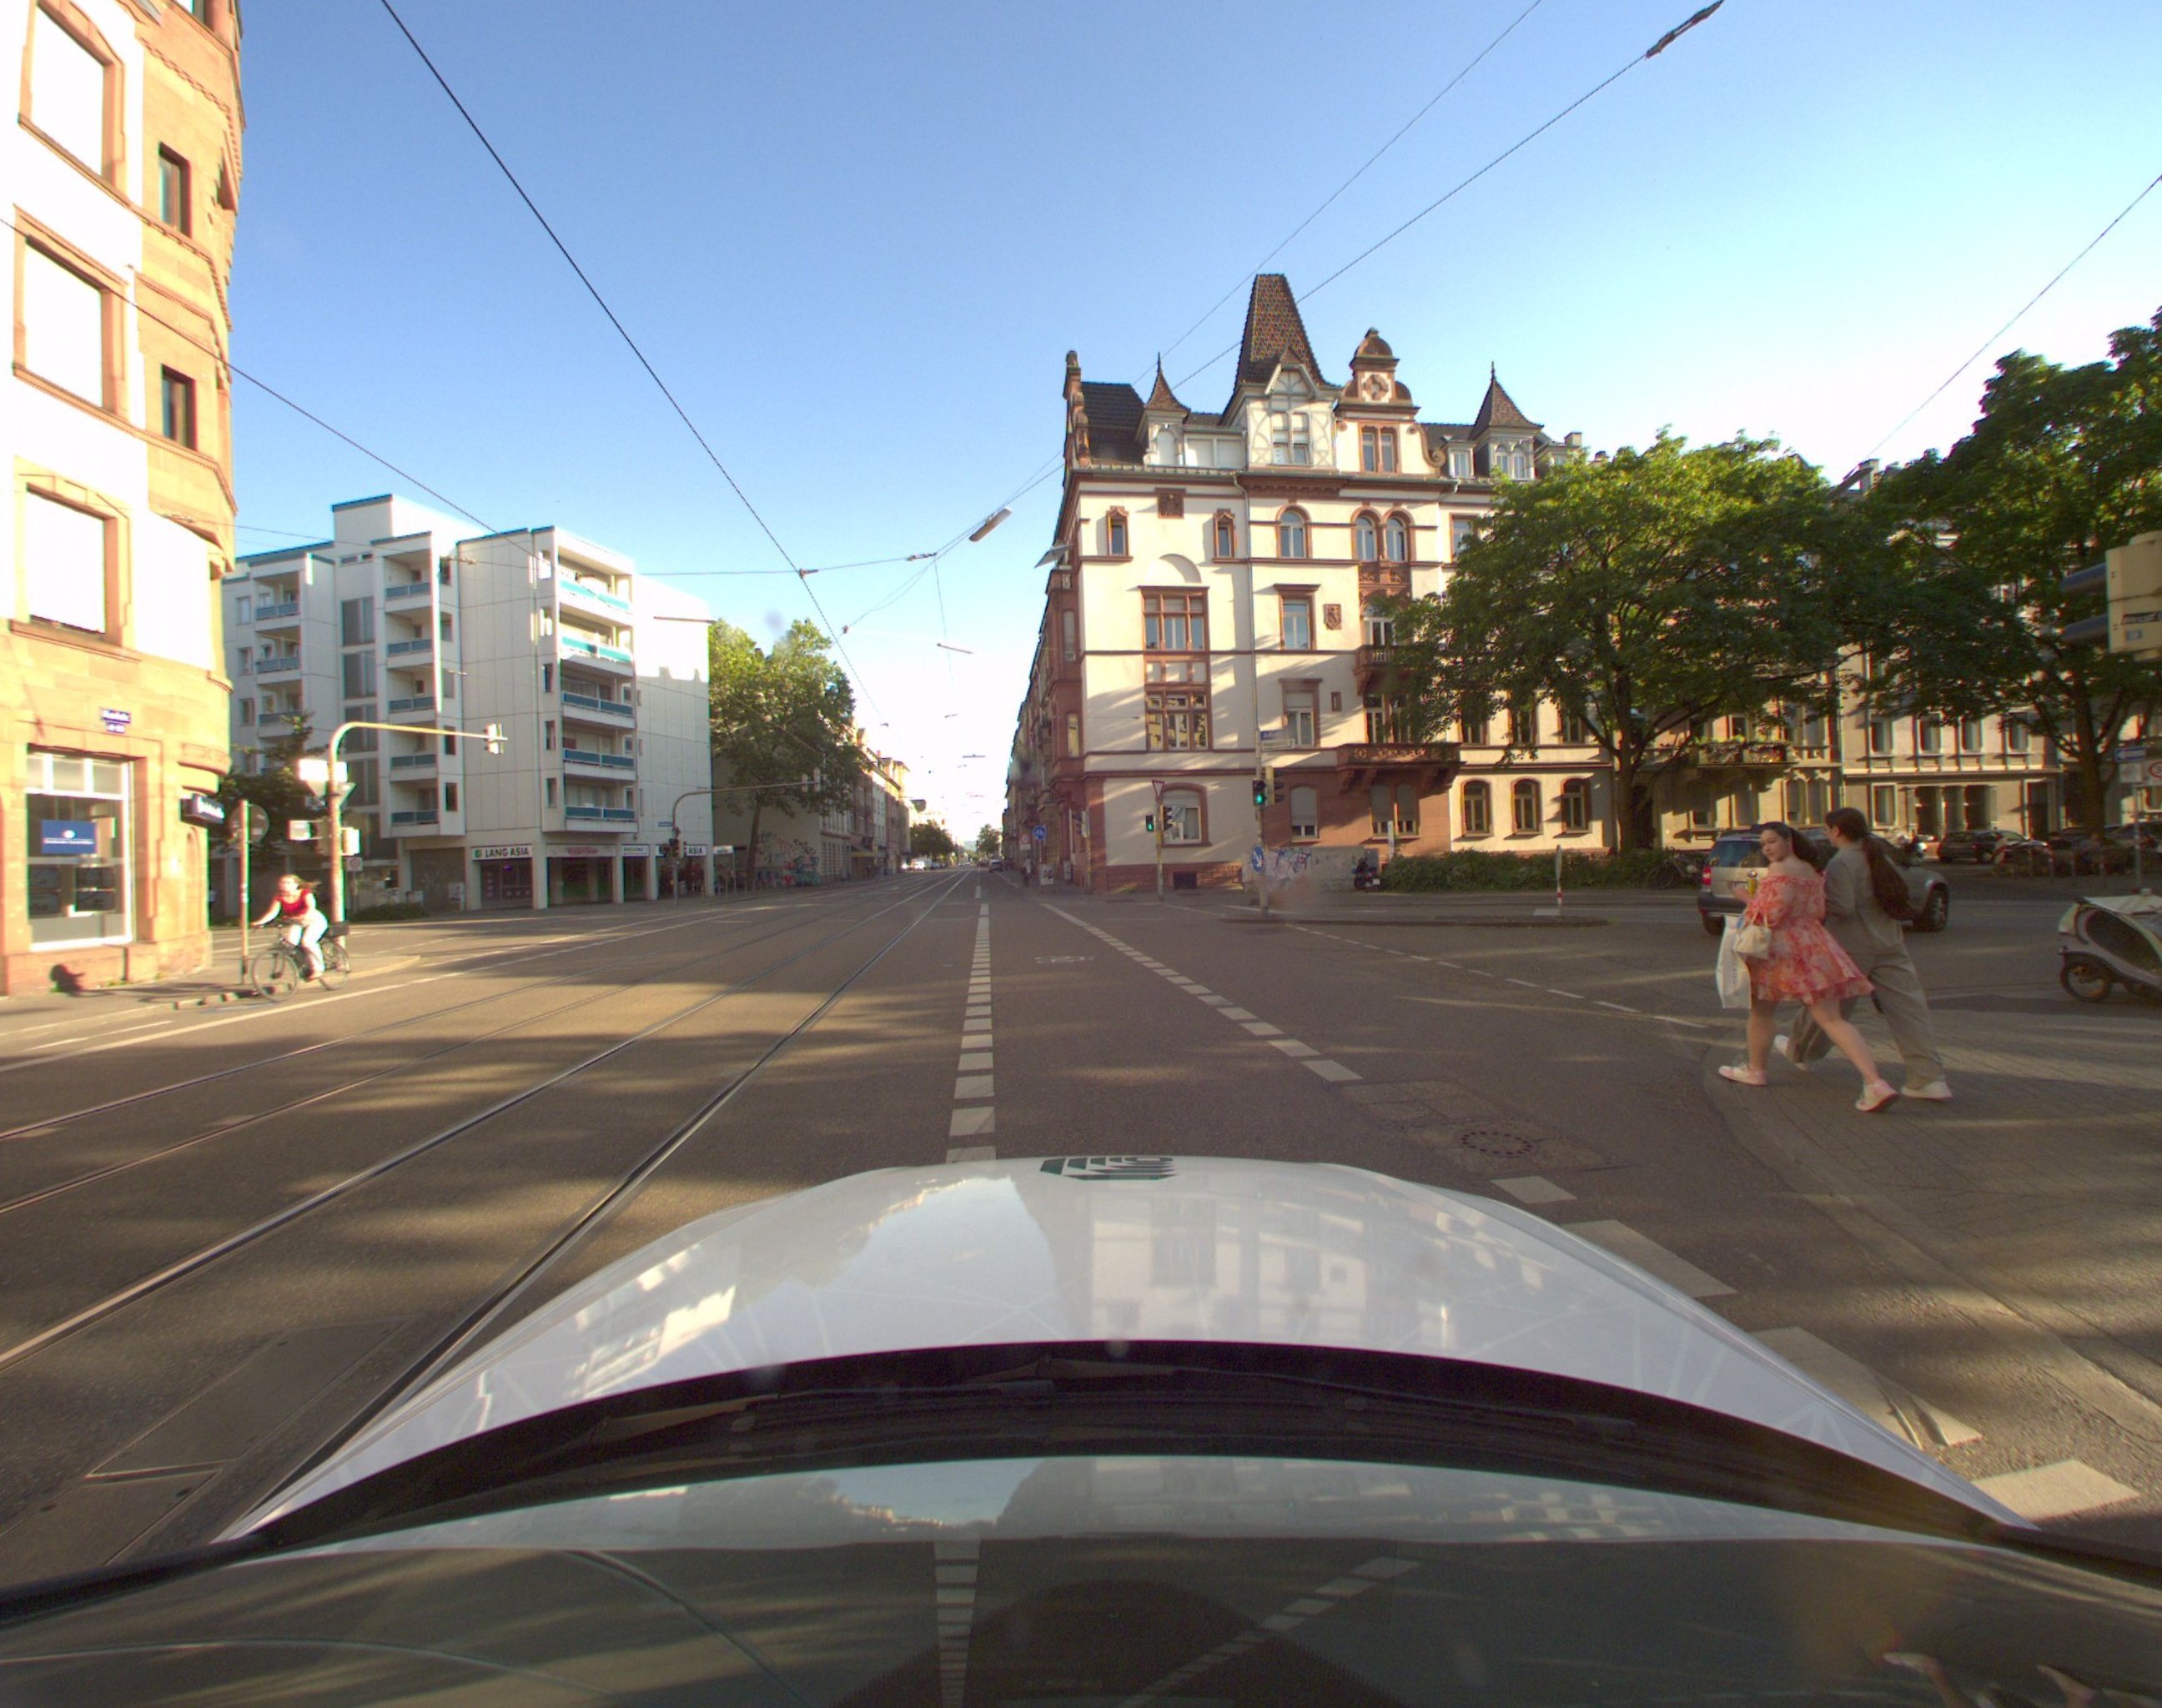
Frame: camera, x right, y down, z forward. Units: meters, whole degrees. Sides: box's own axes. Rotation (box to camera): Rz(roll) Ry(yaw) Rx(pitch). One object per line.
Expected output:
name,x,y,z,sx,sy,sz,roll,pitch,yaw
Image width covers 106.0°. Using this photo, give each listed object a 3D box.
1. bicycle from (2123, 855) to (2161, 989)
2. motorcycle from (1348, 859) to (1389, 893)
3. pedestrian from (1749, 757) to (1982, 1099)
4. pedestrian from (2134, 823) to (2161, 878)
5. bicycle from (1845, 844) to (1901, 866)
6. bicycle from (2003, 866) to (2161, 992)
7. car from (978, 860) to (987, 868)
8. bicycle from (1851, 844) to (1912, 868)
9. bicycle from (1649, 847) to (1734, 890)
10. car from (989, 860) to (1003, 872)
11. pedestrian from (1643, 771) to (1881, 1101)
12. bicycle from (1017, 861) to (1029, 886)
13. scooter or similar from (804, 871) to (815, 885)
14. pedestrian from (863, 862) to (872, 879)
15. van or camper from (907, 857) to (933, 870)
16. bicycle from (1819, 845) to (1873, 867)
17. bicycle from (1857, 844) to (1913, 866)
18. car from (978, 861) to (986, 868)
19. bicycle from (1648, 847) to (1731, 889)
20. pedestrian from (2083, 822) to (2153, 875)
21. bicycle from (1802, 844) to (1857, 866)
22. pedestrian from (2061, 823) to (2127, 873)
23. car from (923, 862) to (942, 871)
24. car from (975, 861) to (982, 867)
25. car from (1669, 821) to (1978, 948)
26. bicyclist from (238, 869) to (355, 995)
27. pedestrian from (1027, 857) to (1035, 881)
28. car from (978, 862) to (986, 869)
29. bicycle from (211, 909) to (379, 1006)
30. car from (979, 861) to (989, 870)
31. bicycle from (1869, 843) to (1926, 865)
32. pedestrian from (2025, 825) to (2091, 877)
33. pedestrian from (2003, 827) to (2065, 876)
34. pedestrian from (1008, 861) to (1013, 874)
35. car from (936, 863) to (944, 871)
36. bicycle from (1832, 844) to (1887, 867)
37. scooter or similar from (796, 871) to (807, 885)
bicycle,10.196,0.595,6.754,0.503,1.223,1.918,-2,-2,-3
motorcycle,9.794,0.728,27.805,0.716,1.020,2.290,-2,2,5
pedestrian,4.821,0.412,5.031,0.693,1.908,0.665,-5,-1,-22
pedestrian,28.954,-0.123,21.588,0.904,1.428,0.770,-6,-2,25
bicycle,33.459,0.050,34.441,0.491,0.893,1.794,-2,0,-4
bicycle,9.420,0.649,7.420,0.774,1.045,1.063,-2,-2,2
car,-23.345,2.344,192.927,1.992,1.728,3.989,-1,-1,-8
bicycle,32.425,0.097,32.998,1.782,0.893,0.494,-2,-1,7
bicycle,17.295,0.416,23.107,1.840,1.161,0.563,-2,1,30
car,-12.022,1.668,115.177,1.947,1.684,3.992,-2,0,-6
pedestrian,4.075,0.447,4.920,0.807,1.800,0.757,0,-1,-16
bicycle,-3.327,1.102,46.552,0.652,1.323,2.173,-2,0,-5
scooter or similar,-21.584,1.872,64.780,0.516,1.057,1.474,-2,0,-9
pedestrian,-21.771,1.679,83.068,0.700,1.728,0.646,-2,-1,-7
van or camper,-32.153,1.932,162.878,4.672,2.563,1.977,-1,-1,-38
bicycle,32.126,0.085,34.233,0.491,0.893,1.794,-2,0,-4
bicycle,33.994,0.035,34.472,0.491,0.893,1.794,-2,0,-4
car,-24.214,2.561,199.371,1.992,1.728,3.989,-1,-1,-8
bicycle,17.610,0.416,23.624,1.840,1.161,0.563,-2,1,30
pedestrian,29.997,-0.155,23.569,0.903,1.428,0.770,-6,-2,26
bicycle,31.194,0.058,33.970,0.491,0.893,1.794,-2,0,-4
pedestrian,30.566,-0.180,24.587,0.904,1.428,0.770,-6,-2,25
car,-36.001,2.989,197.958,4.014,2.013,1.980,-2,-1,-32
car,-29.547,2.855,235.106,1.992,1.728,3.989,-1,-1,-8
car,11.501,0.361,12.653,4.002,1.618,1.986,-2,2,-21
bicyclist,-10.955,1.052,11.412,0.701,1.643,0.988,-2,-1,-8
pedestrian,-3.774,1.099,61.069,0.544,1.780,0.503,-2,-1,-7
car,-25.261,2.893,206.969,1.992,1.728,3.989,-1,-1,-8
bicycle,-10.949,1.400,11.446,0.696,1.109,1.892,-2,0,-8
car,-20.167,2.455,169.208,1.992,1.728,3.989,-1,-1,-8
bicycle,34.640,0.018,34.575,0.491,0.893,1.794,-2,0,-4
pedestrian,29.038,-0.085,24.221,0.903,1.428,0.770,-6,-2,26
pedestrian,29.447,-0.081,25.182,0.904,1.428,0.770,-6,-2,25
pedestrian,-9.337,1.808,107.974,0.544,1.780,0.748,-2,-1,-6
car,-38.868,3.486,224.290,1.992,2.013,3.989,-2,0,-8
bicycle,32.792,0.067,34.346,0.491,0.893,1.794,-2,0,-4
scooter or similar,-22.211,1.894,64.661,0.516,1.045,1.474,-2,0,-9
